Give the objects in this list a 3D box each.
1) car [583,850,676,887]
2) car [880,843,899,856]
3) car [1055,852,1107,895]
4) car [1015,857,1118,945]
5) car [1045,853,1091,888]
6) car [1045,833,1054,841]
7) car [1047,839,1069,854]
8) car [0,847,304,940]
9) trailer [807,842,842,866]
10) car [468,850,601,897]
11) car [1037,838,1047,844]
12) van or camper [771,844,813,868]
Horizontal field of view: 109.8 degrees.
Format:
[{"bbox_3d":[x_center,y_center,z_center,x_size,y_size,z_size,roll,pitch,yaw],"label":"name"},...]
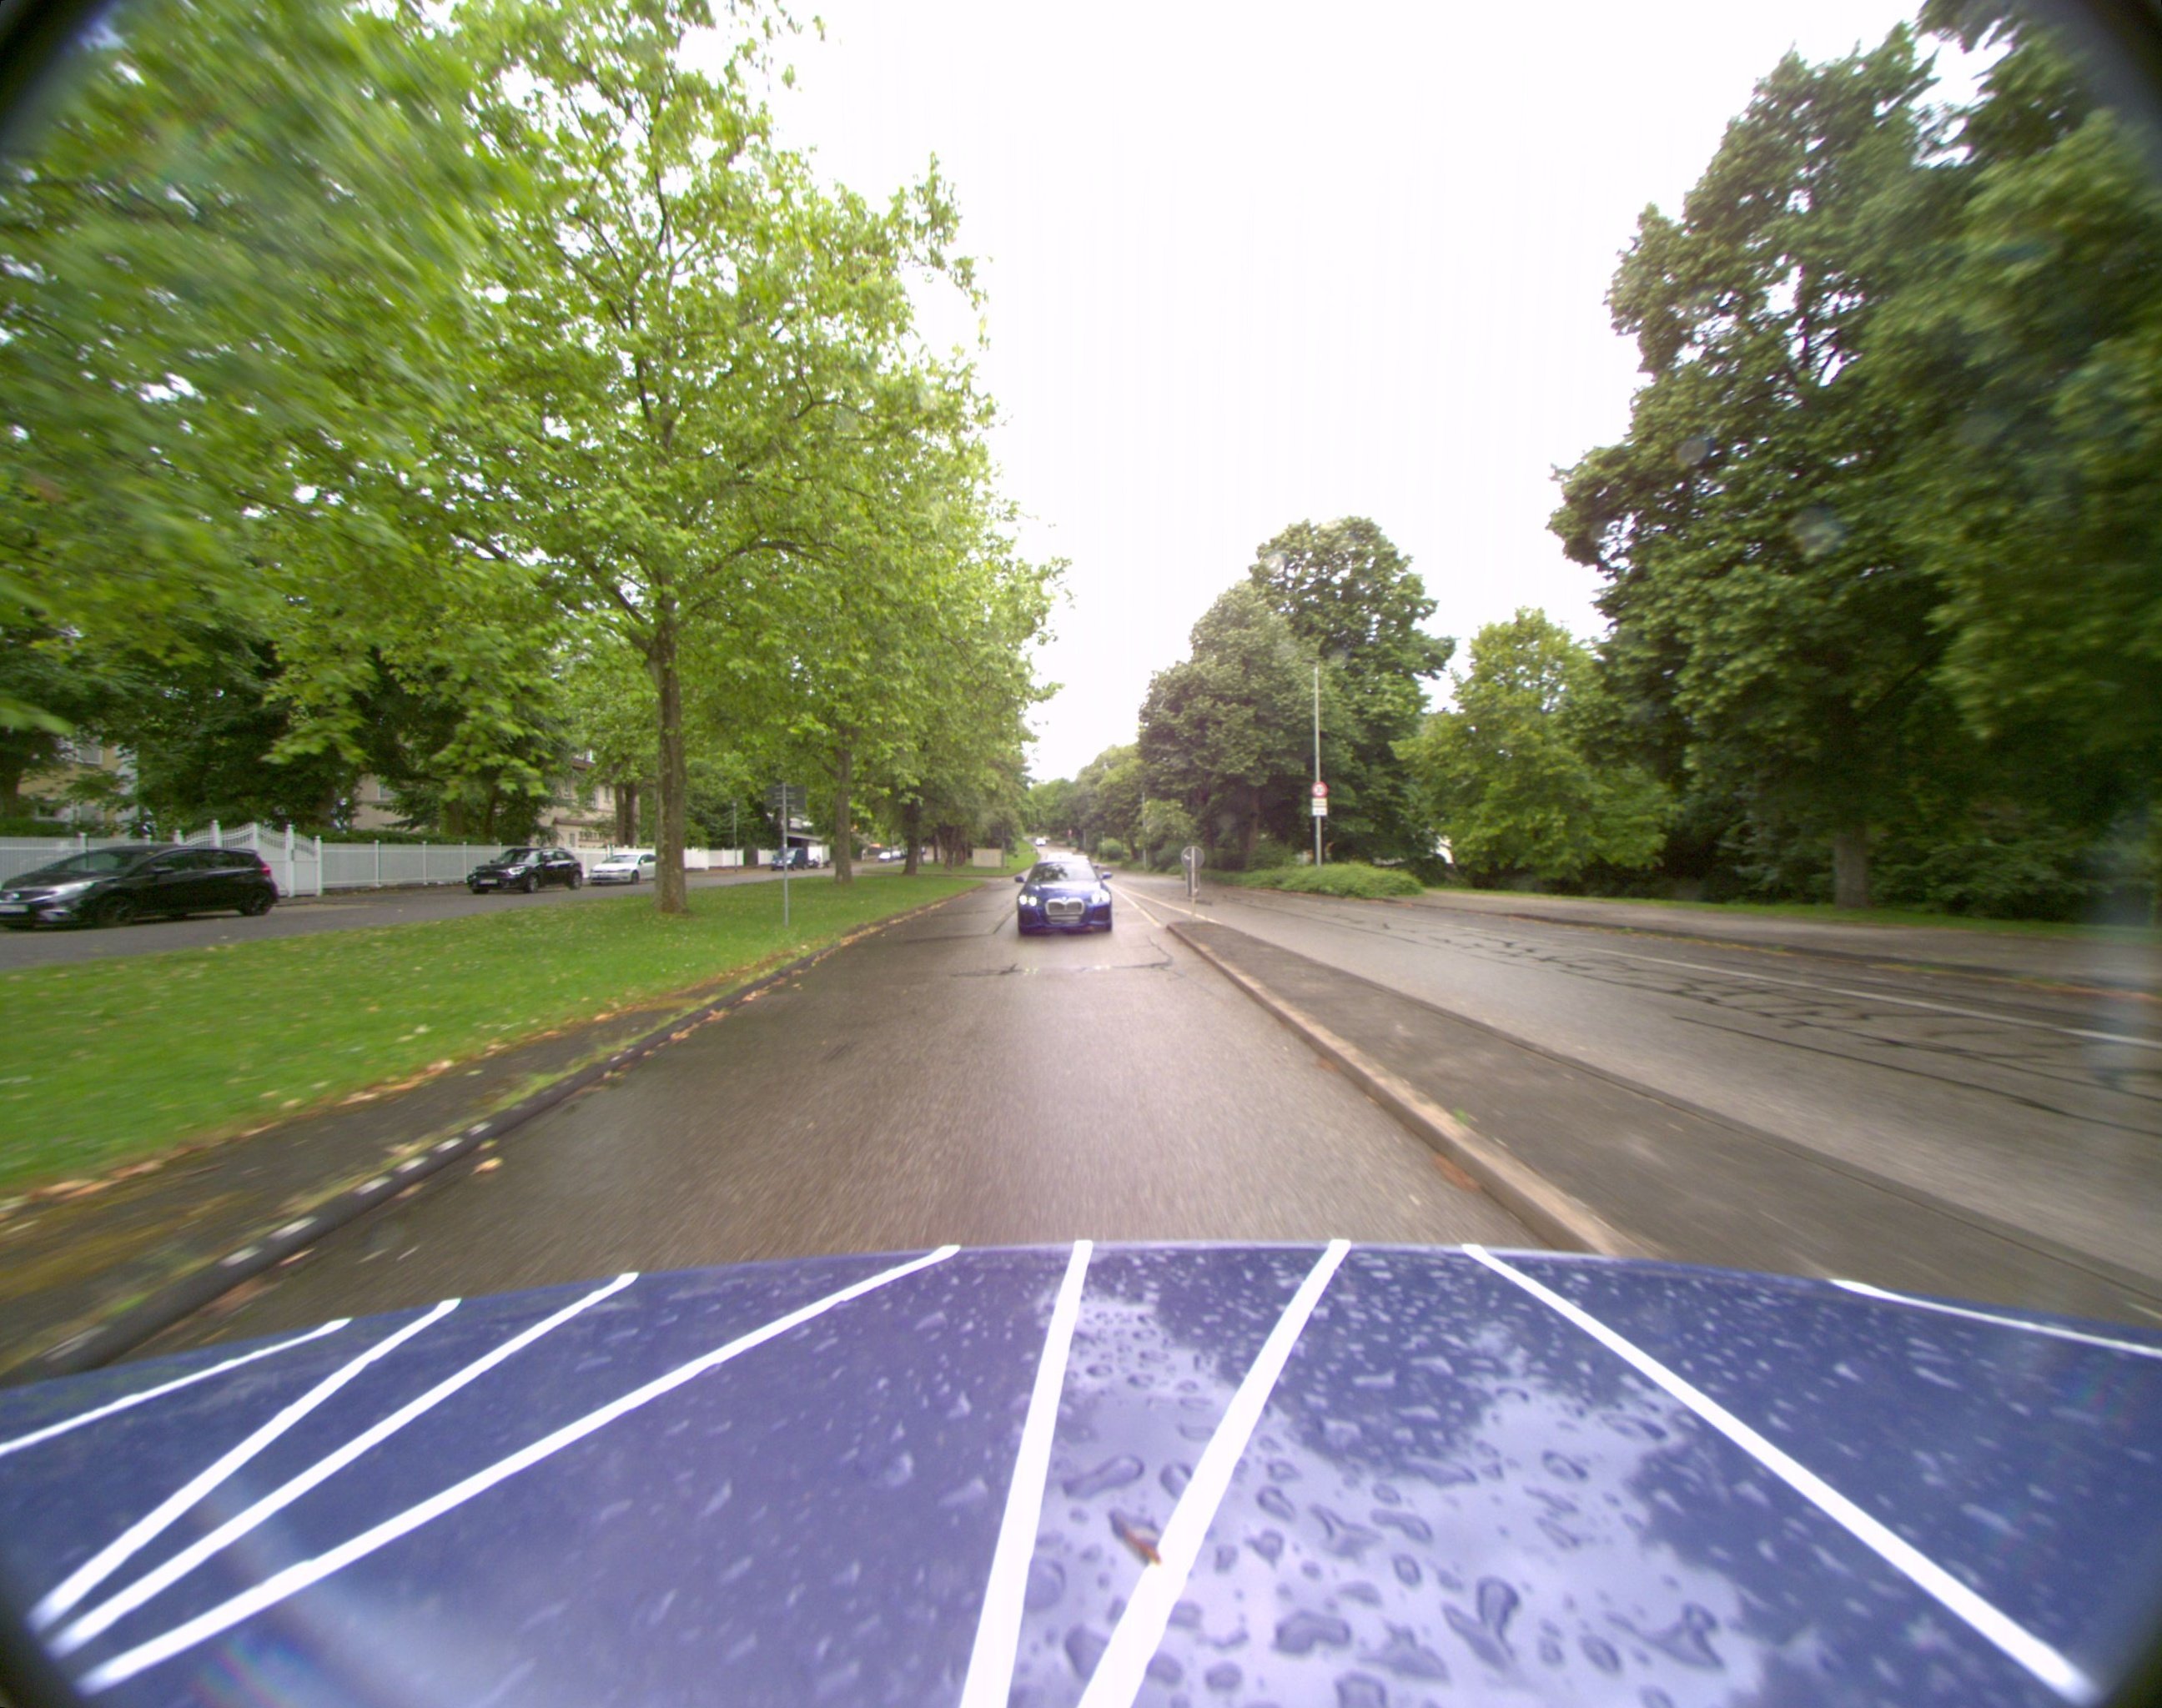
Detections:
[{"bbox_3d":[-20.419,0.608,34.584,1.999,1.440,4.122,-3,1,-6],"label":"car"},{"bbox_3d":[-28.123,-0.673,111.863,1.999,2.002,3.998,0,1,-3],"label":"car"},{"bbox_3d":[-0.078,0.720,30.538,1.826,1.471,4.065,-3,1,-3],"label":"car"},{"bbox_3d":[-0.383,0.867,15.985,1.826,1.471,4.065,-3,1,-3],"label":"car"},{"bbox_3d":[-0.695,0.751,37.044,2.032,1.471,4.065,-2,1,-3],"label":"car"},{"bbox_3d":[-8.016,-4.281,193.303,1.999,2.002,4.571,-1,0,-6],"label":"car"},{"bbox_3d":[-2.385,-0.844,79.898,1.825,1.471,4.068,-2,1,5],"label":"car"},{"bbox_3d":[-18.324,0.673,14.943,1.765,1.463,4.354,-4,1,-6],"label":"car"},{"bbox_3d":[-23.662,-0.052,70.151,1.772,2.104,5.190,-3,1,-5],"label":"trailer"},{"bbox_3d":[-19.447,0.635,27.301,1.999,1.463,4.122,-3,1,-6],"label":"car"},{"bbox_3d":[-8.902,-2.966,173.924,1.825,1.471,4.067,-2,1,3],"label":"car"},{"bbox_3d":[-22.898,0.123,60.440,2.000,1.798,4.772,-3,1,-7],"label":"van or camper"}]
